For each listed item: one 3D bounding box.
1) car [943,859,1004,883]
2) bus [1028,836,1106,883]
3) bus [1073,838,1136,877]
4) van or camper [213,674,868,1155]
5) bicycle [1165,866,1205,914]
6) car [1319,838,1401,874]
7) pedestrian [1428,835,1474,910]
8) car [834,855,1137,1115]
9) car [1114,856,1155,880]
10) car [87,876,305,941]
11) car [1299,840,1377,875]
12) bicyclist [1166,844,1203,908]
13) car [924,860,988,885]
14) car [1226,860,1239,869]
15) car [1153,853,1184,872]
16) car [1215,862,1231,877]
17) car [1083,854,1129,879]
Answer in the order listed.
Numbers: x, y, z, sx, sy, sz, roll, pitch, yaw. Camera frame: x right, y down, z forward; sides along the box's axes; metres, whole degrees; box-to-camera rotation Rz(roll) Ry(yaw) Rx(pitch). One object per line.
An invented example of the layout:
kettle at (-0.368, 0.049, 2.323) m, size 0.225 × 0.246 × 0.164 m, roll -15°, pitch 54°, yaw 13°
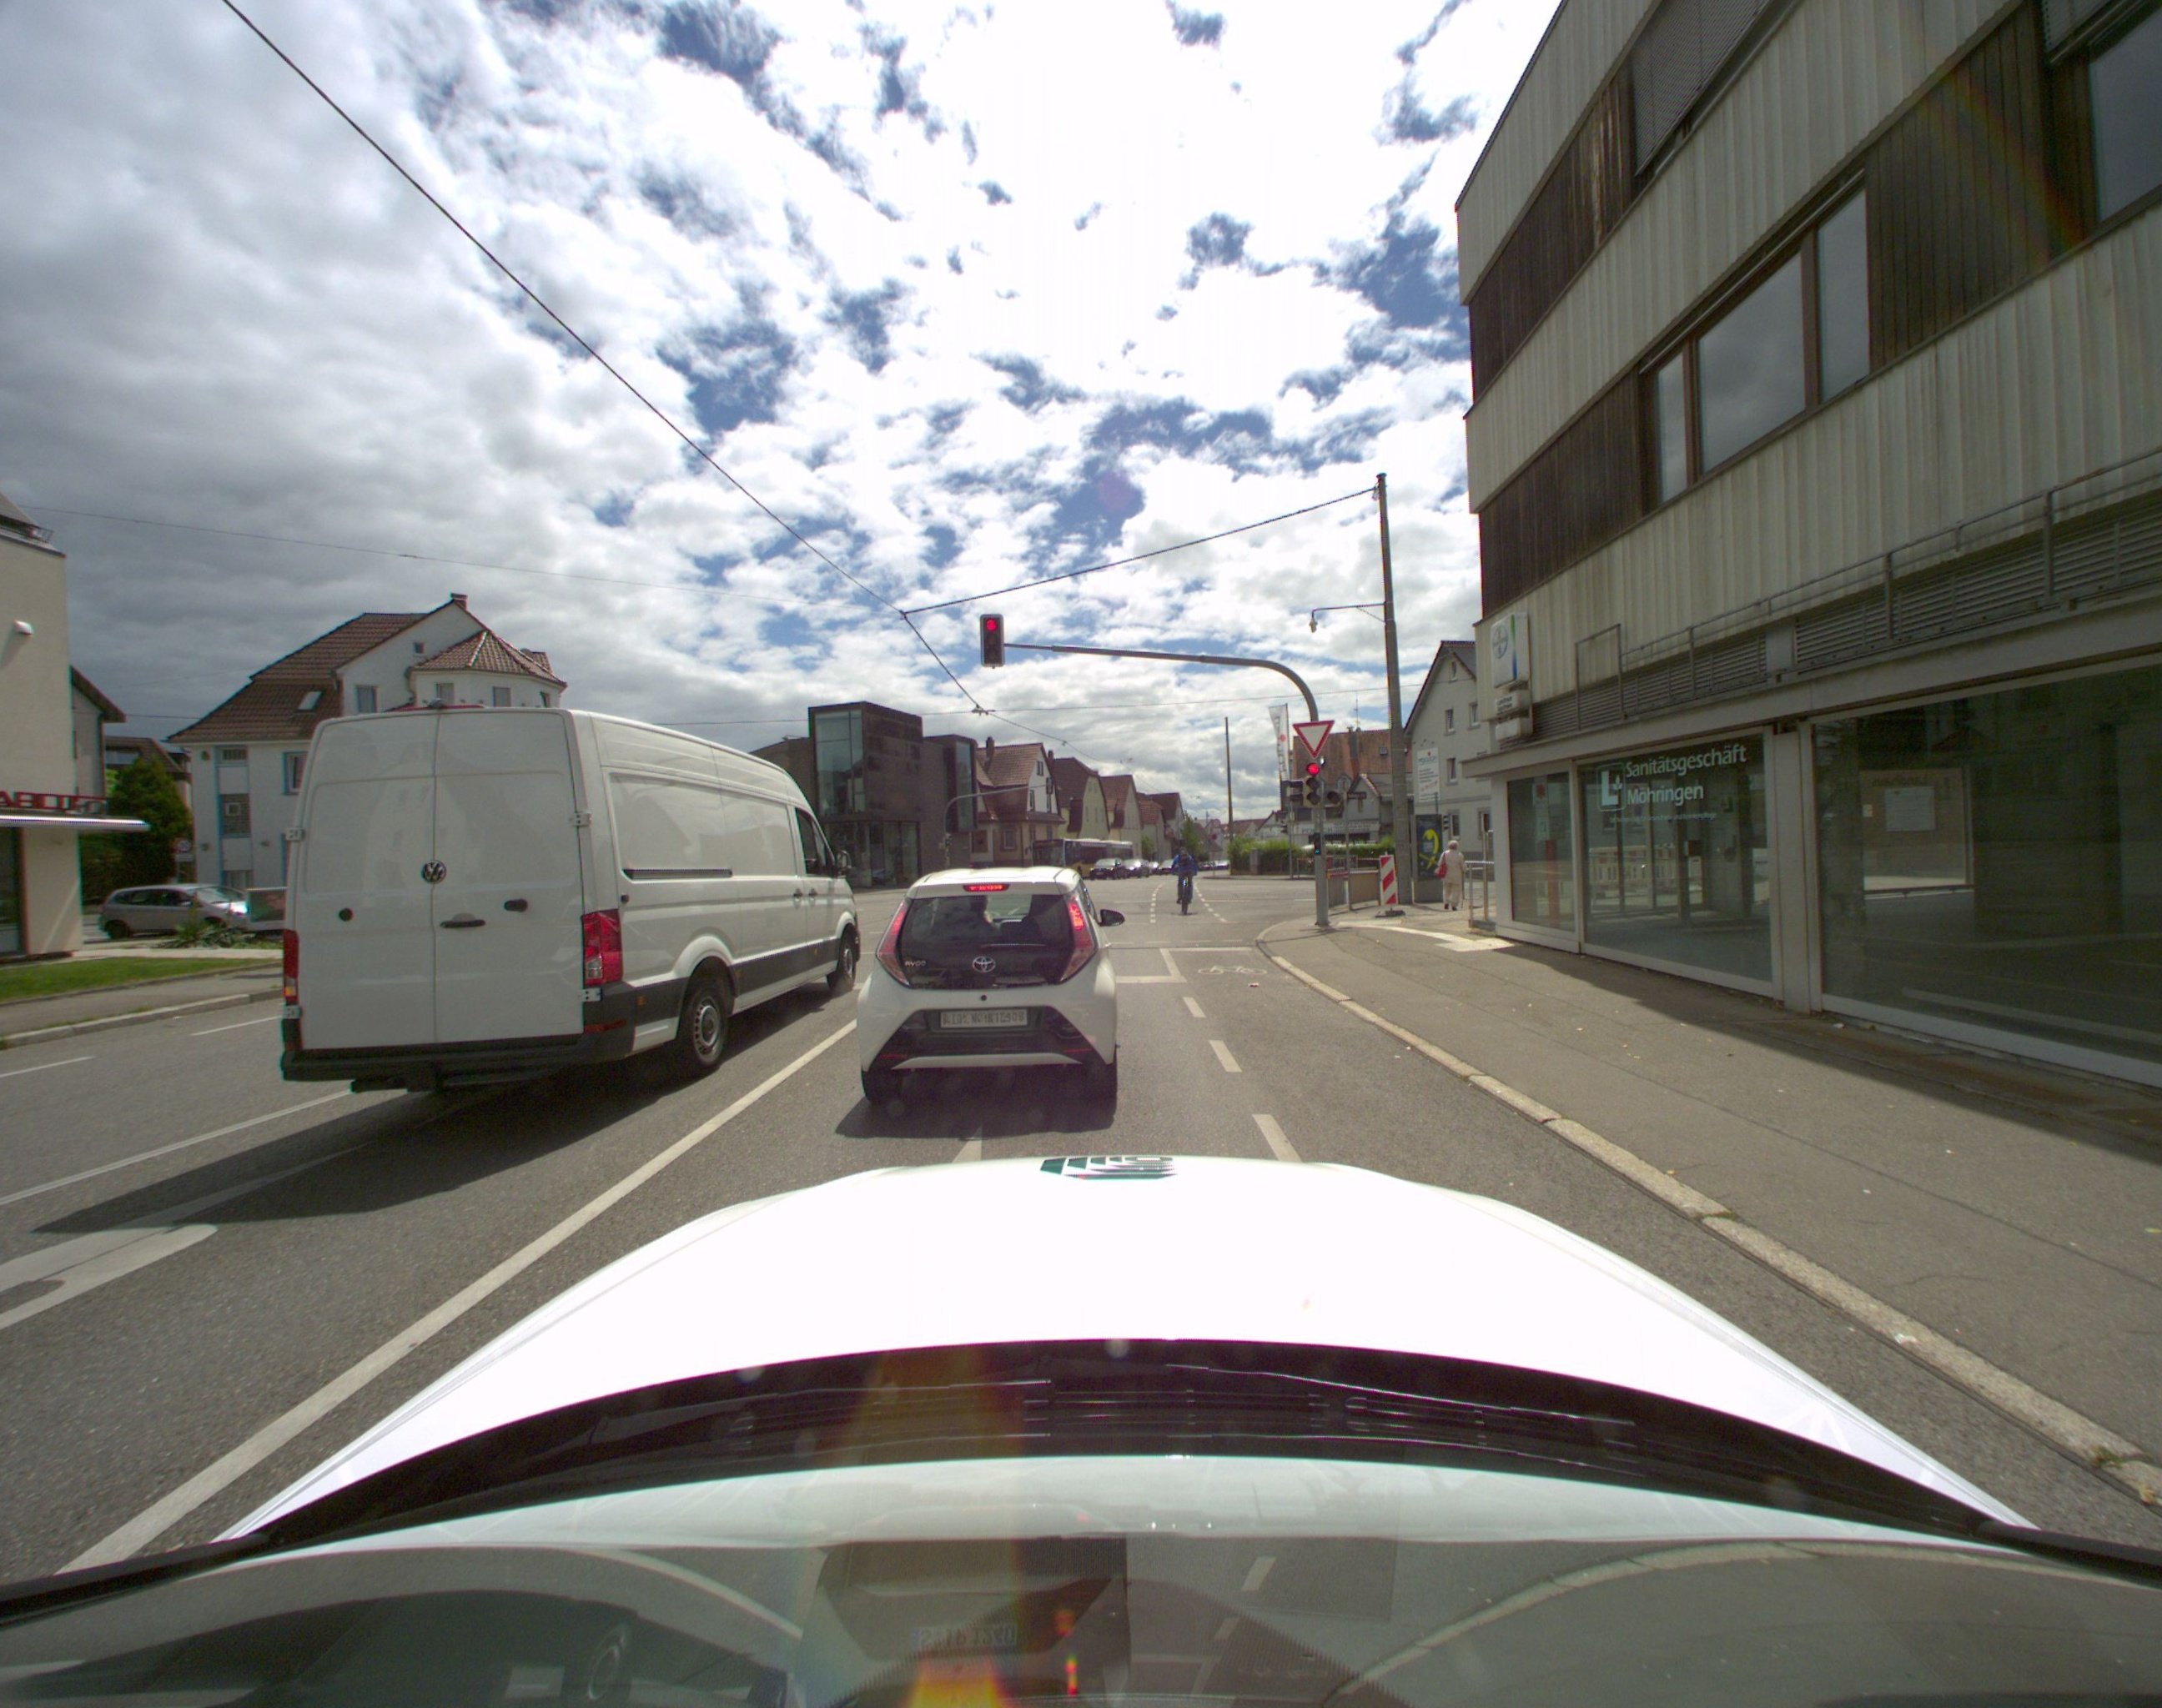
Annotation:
car at (-7.966, 1.256, 60.627) m, size 3.957 × 1.684 × 2.008 m, roll -2°, pitch 0°, yaw 15°
bus at (-0.795, 0.368, 58.215) m, size 2.756 × 3.060 × 9.233 m, roll -1°, pitch 0°, yaw 17°
bus at (2.084, 0.263, 67.251) m, size 2.756 × 2.914 × 9.233 m, roll -1°, pitch 0°, yaw 17°
van or camper at (-3.761, 0.325, 7.397) m, size 2.101 × 2.586 × 5.643 m, roll -3°, pitch 0°, yaw -1°
bicycle at (2.721, 0.916, 21.535) m, size 0.829 × 1.164 × 2.192 m, roll 1°, pitch 0°, yaw 2°
car at (16.006, 0.140, 46.786) m, size 3.984 × 1.948 × 1.995 m, roll -1°, pitch -1°, yaw -8°
pedestrian at (8.304, 0.413, 18.315) m, size 0.827 × 1.637 × 0.878 m, roll -2°, pitch 0°, yaw 18°
car at (-0.564, 0.765, 6.544) m, size 1.733 × 1.460 × 3.531 m, roll -2°, pitch 0°, yaw 0°
car at (4.018, 1.004, 60.515) m, size 1.977 × 1.640 × 4.204 m, roll -1°, pitch 0°, yaw 19°
car at (-26.115, 1.568, 24.178) m, size 3.982 × 1.684 × 1.996 m, roll -2°, pitch 0°, yaw -7°
car at (15.493, 0.197, 49.166) m, size 3.983 × 2.013 × 1.995 m, roll -1°, pitch 0°, yaw -7°
bicyclist at (2.722, 0.568, 21.474) m, size 0.837 × 1.614 × 1.083 m, roll 1°, pitch 0°, yaw 1°
car at (-8.826, 1.277, 57.767) m, size 3.958 × 1.640 × 2.008 m, roll 1°, pitch 0°, yaw 15°
car at (30.161, 2.133, 162.251) m, size 1.977 × 1.640 × 4.020 m, roll -1°, pitch 0°, yaw 19°
car at (8.099, 0.737, 75.130) m, size 1.977 × 1.640 × 4.020 m, roll -1°, pitch 0°, yaw 19°
car at (21.080, 2.286, 120.536) m, size 1.979 × 2.013 × 4.016 m, roll -1°, pitch 0°, yaw 15°
car at (1.722, 0.831, 55.397) m, size 1.977 × 1.640 × 4.020 m, roll -1°, pitch 0°, yaw 19°
